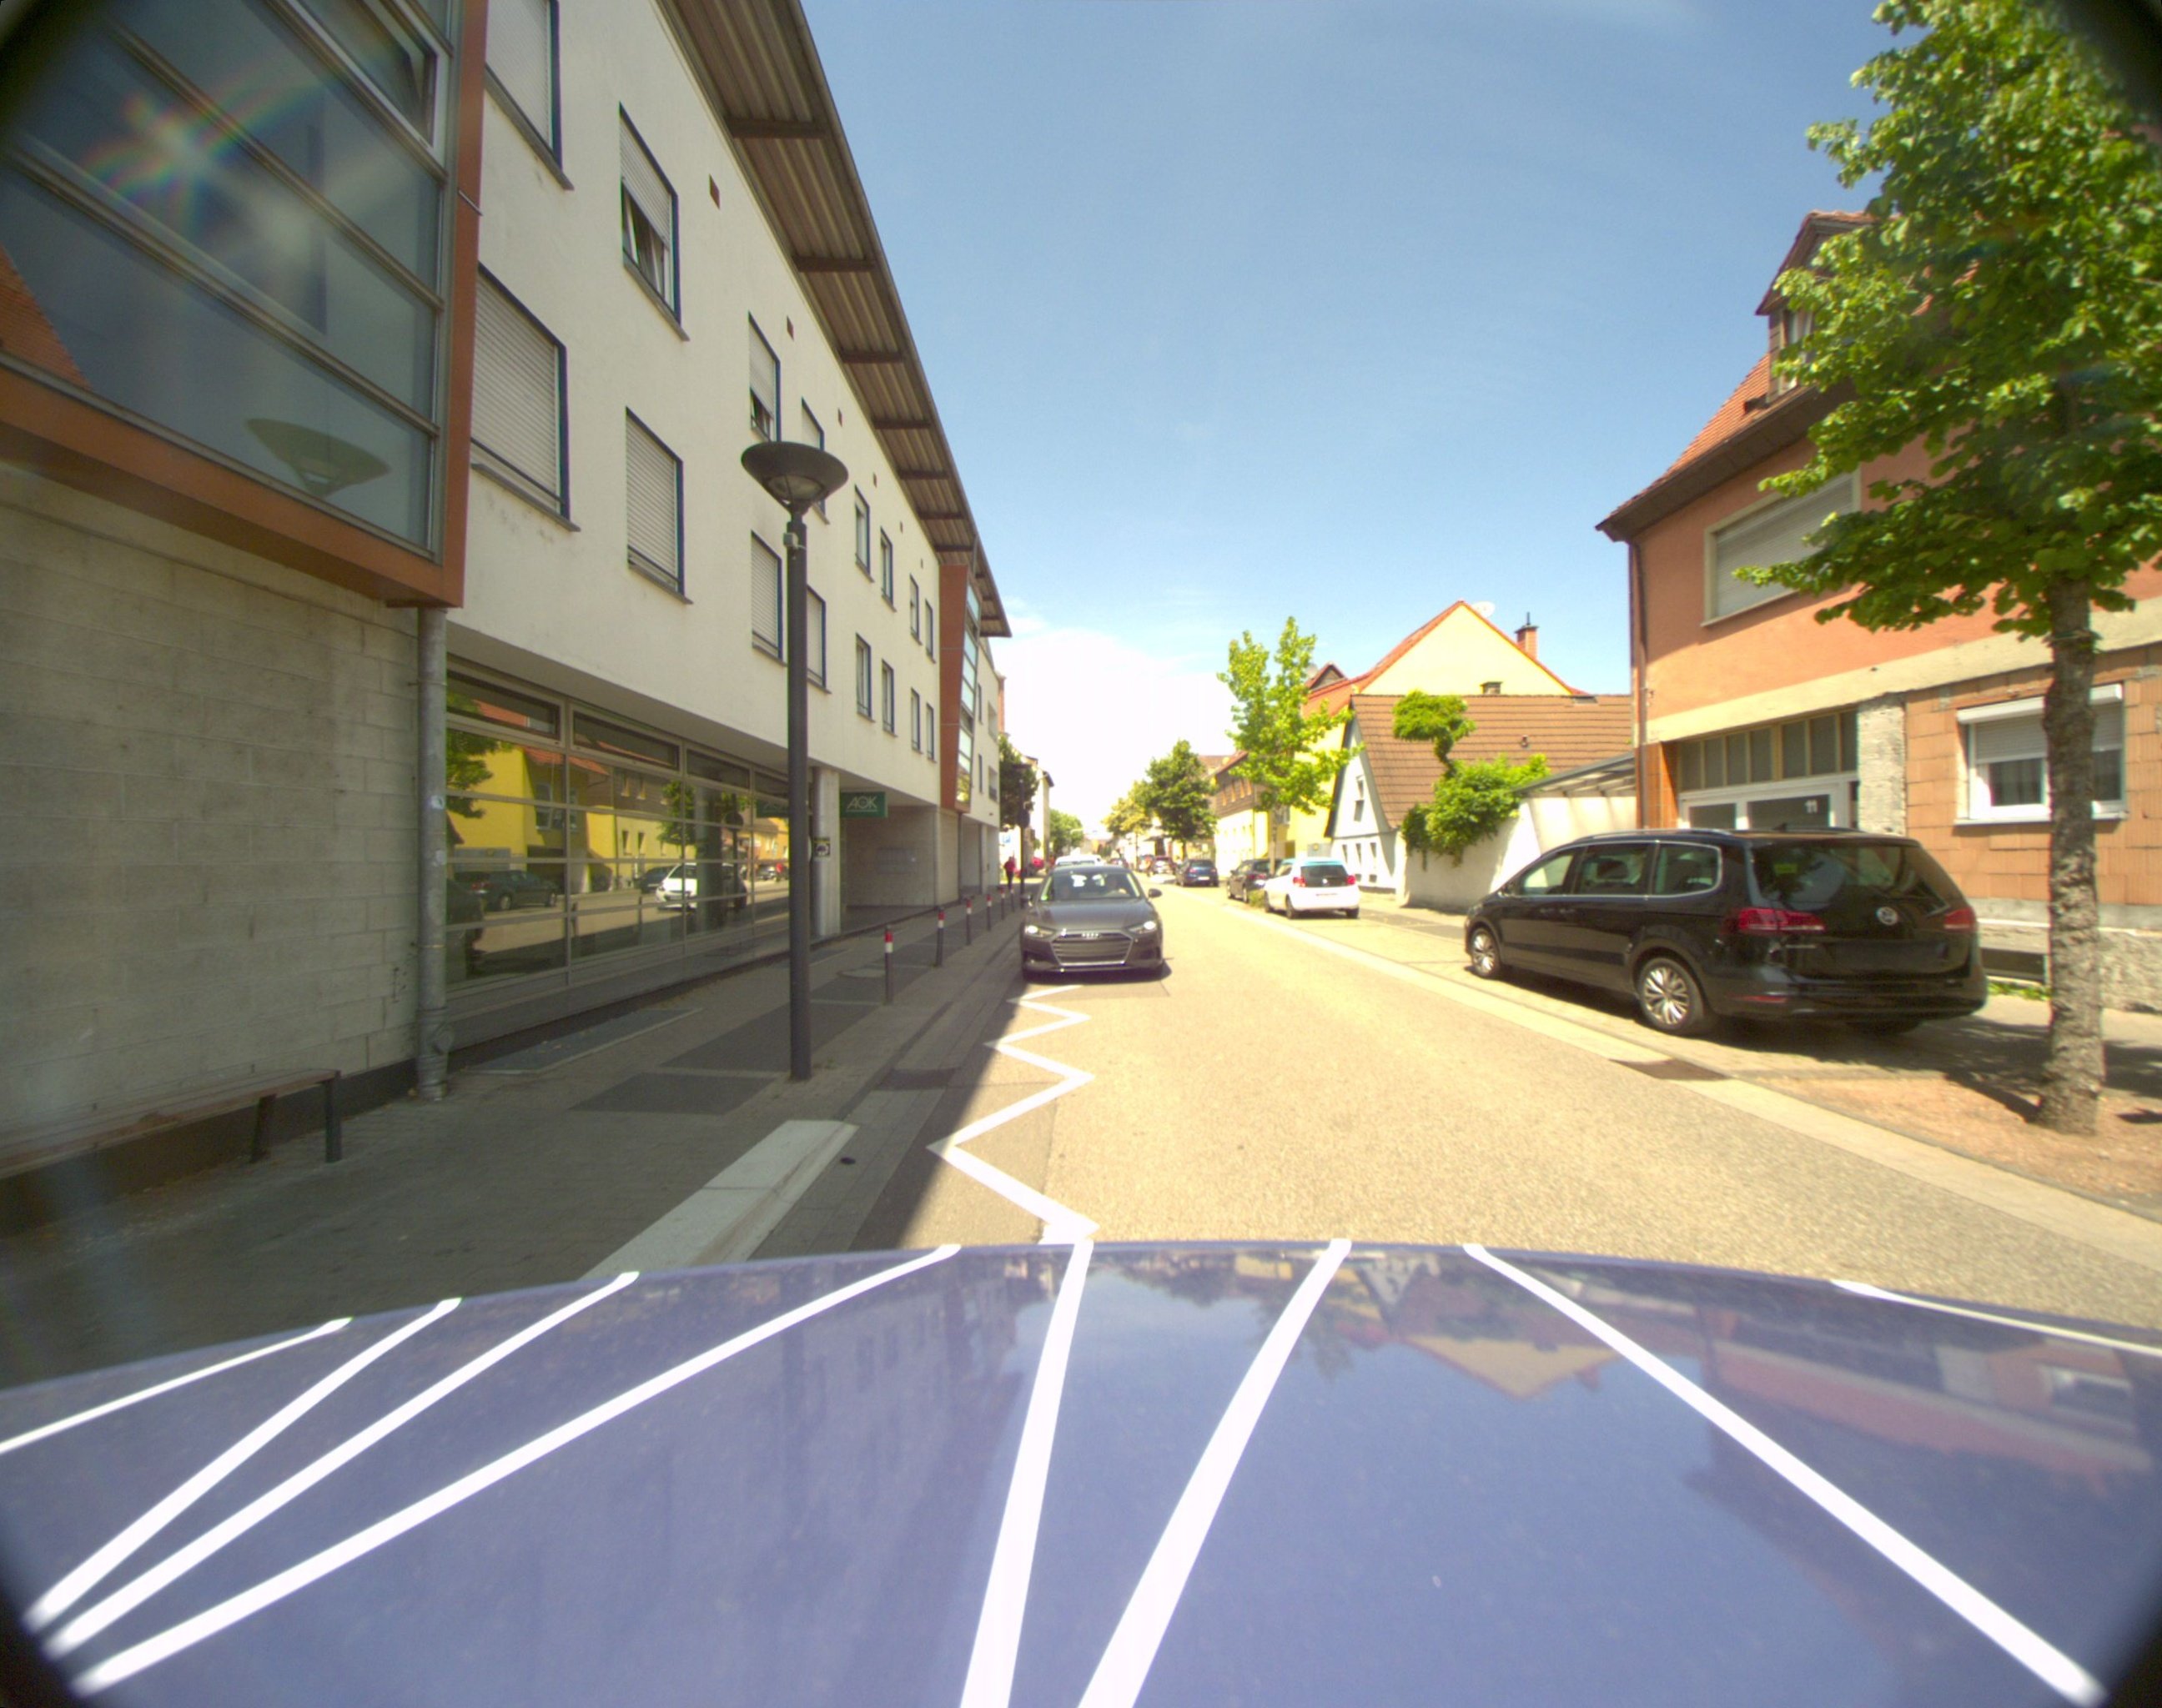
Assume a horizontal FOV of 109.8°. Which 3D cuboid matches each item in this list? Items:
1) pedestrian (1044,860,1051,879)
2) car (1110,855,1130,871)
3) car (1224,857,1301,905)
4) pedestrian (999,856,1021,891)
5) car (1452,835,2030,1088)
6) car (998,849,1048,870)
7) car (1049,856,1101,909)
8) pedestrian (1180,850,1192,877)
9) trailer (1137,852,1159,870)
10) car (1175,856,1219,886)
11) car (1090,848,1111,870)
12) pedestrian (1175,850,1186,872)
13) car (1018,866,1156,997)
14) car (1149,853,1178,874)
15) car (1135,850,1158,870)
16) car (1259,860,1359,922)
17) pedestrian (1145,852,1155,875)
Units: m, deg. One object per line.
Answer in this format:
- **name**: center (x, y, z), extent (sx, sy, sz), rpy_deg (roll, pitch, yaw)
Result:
- **pedestrian**: center (-3.304, 1.494, 75.233), extent (0.581, 1.875, 0.695), rpy_deg (0, 1, 3)
- **car**: center (3.587, 0.814, 70.061), extent (1.693, 1.464, 4.000), rpy_deg (0, 0, 0)
- **car**: center (5.962, 0.838, 25.445), extent (1.649, 1.422, 4.098), rpy_deg (0, 0, 1)
- **pedestrian**: center (-3.246, 0.877, 34.870), extent (0.825, 1.579, 0.919), rpy_deg (2, 1, 1)
- **car**: center (5.646, 0.741, 7.485), extent (1.780, 1.716, 4.519), rpy_deg (-1, 0, 0)
- **car**: center (-5.084, 0.485, 66.996), extent (4.203, 1.849, 2.000), rpy_deg (0, 0, 0)
- **car**: center (-0.167, 0.875, 25.420), extent (1.581, 1.620, 4.065), rpy_deg (0, 0, 0)
- **pedestrian**: center (6.391, 0.574, 46.346), extent (0.631, 1.592, 0.528), rpy_deg (0, 1, 1)
- **trailer**: center (6.173, 0.639, 70.253), extent (1.493, 1.571, 3.883), rpy_deg (-3, 0, -2)
- **car**: center (5.800, 0.842, 38.413), extent (1.660, 1.399, 4.158), rpy_deg (-1, 0, 1)
- **car**: center (1.470, 0.371, 59.332), extent (1.581, 1.620, 4.065), rpy_deg (0, 0, 0)
- **pedestrian**: center (7.125, 0.513, 54.356), extent (0.663, 1.592, 0.771), rpy_deg (0, 1, 1)
- **car**: center (0.085, 0.940, 10.920), extent (1.581, 1.424, 4.065), rpy_deg (-1, 0, 0)
- **car**: center (6.242, 0.697, 57.786), extent (1.753, 1.566, 4.158), rpy_deg (-1, 0, 1)
- **car**: center (6.387, 0.575, 74.538), extent (1.695, 1.742, 3.999), rpy_deg (-3, 0, -1)
- **car**: center (5.662, 0.867, 19.252), extent (1.557, 1.422, 3.410), rpy_deg (0, 0, 1)
- **pedestrian**: center (4.905, 0.663, 54.058), extent (0.643, 1.645, 0.624), rpy_deg (0, 1, 1)
